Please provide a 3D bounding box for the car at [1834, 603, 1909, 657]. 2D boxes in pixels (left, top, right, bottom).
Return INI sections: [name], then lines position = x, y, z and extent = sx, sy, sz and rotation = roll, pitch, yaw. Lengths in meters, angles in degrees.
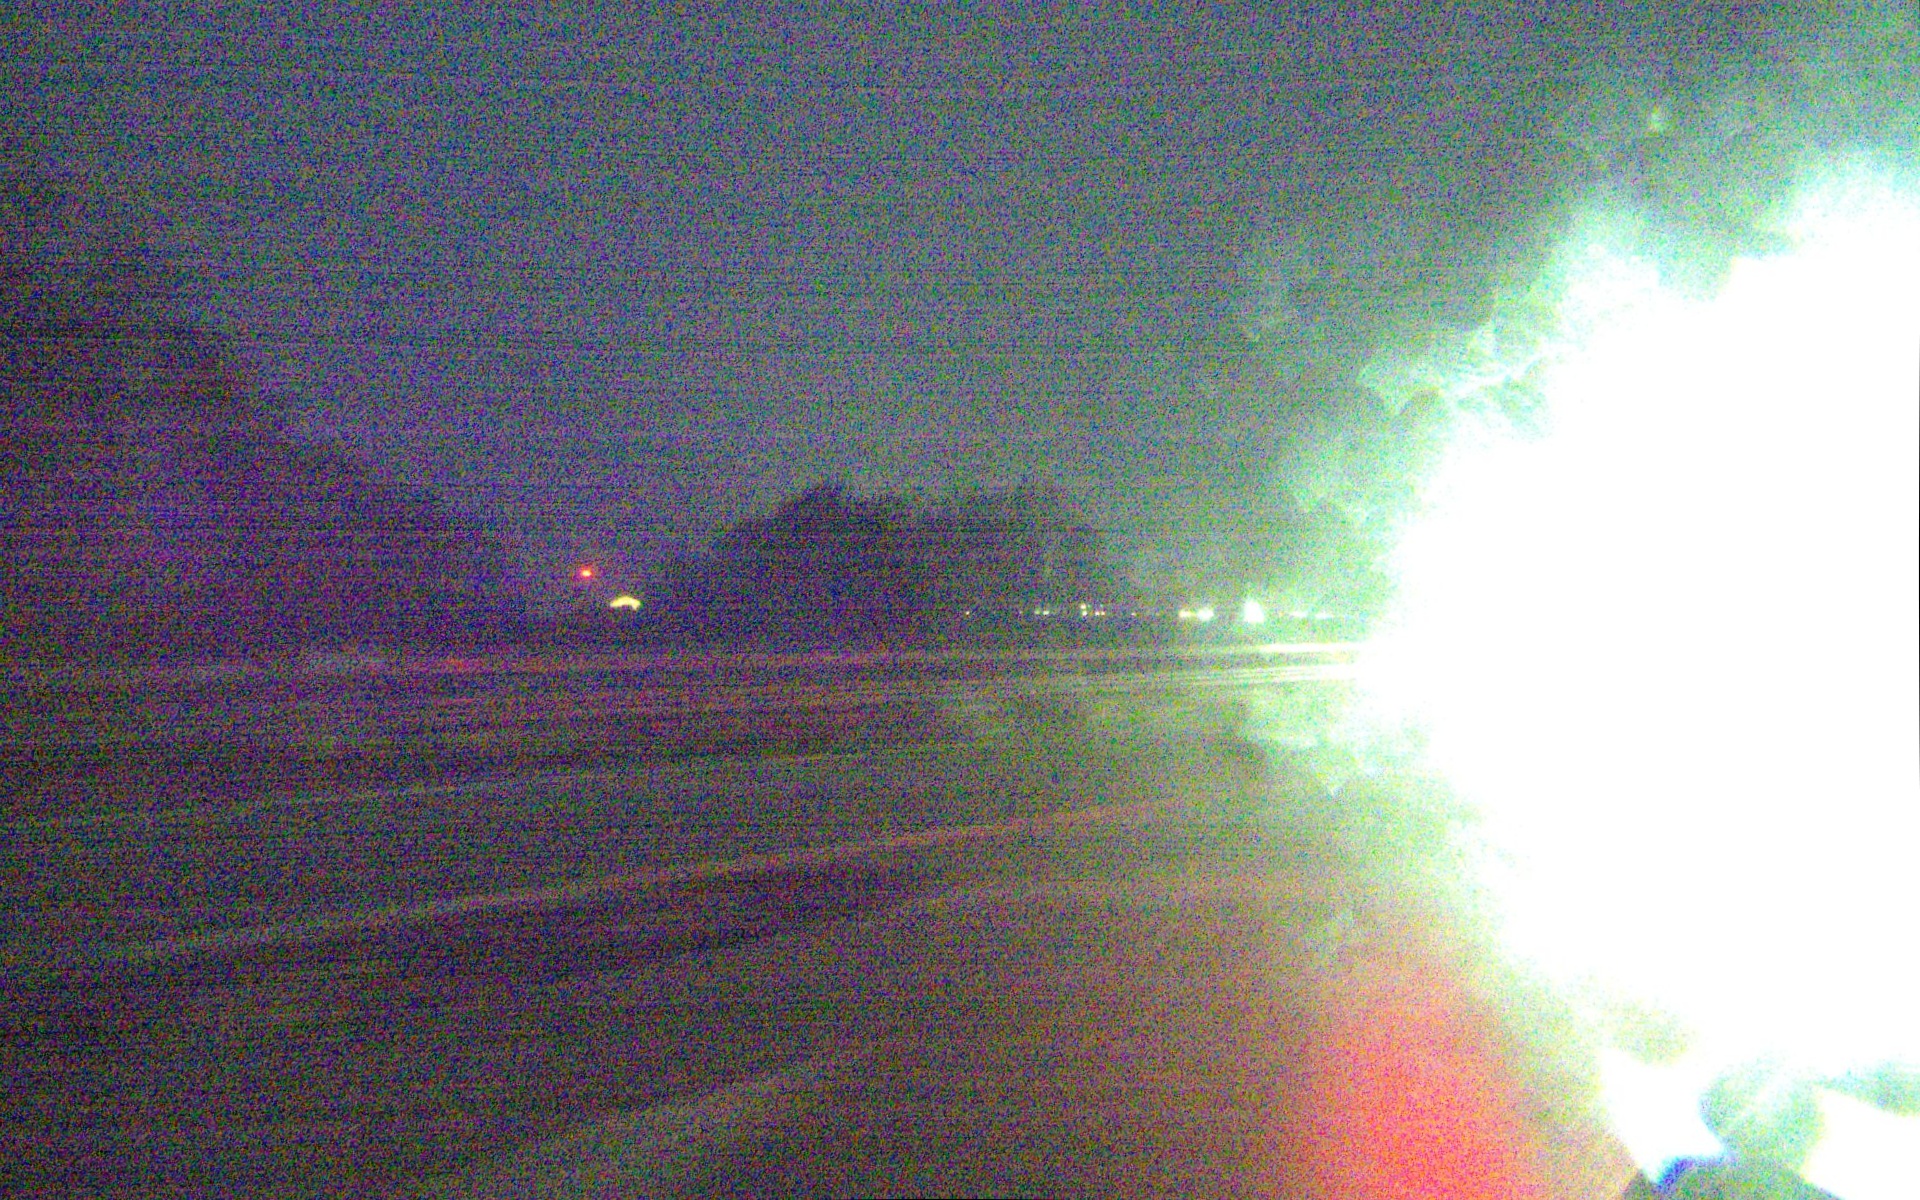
[car]
position = 31.279, 1.023, 34.699
extent = 1.735, 1.706, 4.055
rotation = -5, -4, 43
